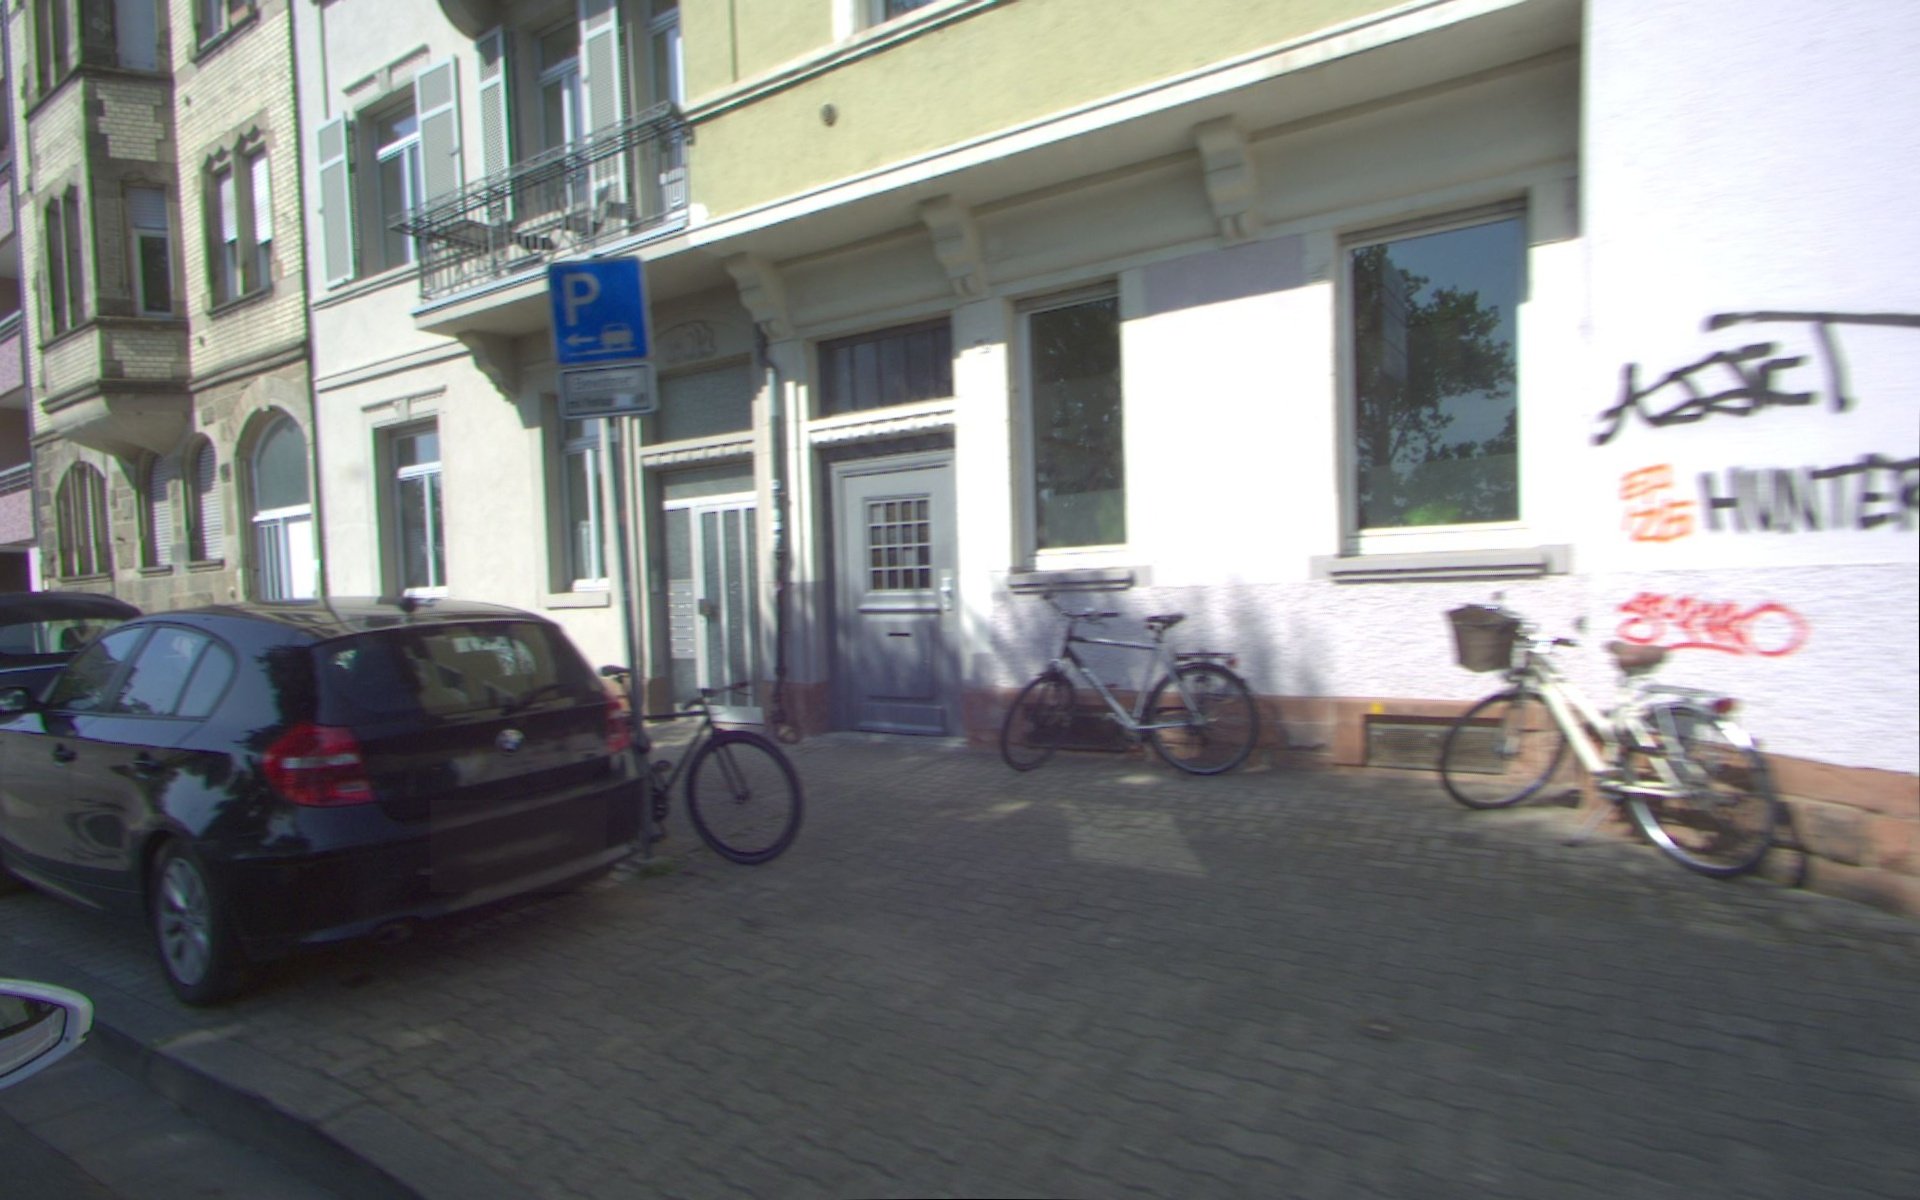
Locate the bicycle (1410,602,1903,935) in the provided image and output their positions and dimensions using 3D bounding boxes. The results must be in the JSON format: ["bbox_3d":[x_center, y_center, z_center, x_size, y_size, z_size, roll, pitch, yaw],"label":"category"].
[{"bbox_3d":[2.801,0.574,4.314,0.528,1.061,1.824,-3,2,-15],"label":"bicycle"}]

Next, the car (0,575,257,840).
[{"bbox_3d":[-7.055,0.667,7.337,3.953,1.522,1.638,-1,2,32],"label":"car"}]

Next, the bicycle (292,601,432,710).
[{"bbox_3d":[-6.980,0.625,11.681,1.602,1.162,0.653,-1,3,31],"label":"bicycle"}]

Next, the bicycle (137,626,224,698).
[{"bbox_3d":[-11.350,0.882,14.575,1.630,0.983,0.506,-1,2,35],"label":"bicycle"}]

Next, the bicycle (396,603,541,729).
[{"bbox_3d":[-5.278,0.671,10.737,1.602,1.197,0.564,2,5,30],"label":"bicycle"}]

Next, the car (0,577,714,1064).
[{"bbox_3d":[-3.262,0.681,4.792,4.023,1.435,1.736,-1,1,33],"label":"car"}]

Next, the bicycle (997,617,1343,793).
[{"bbox_3d":[1.308,0.615,6.453,2.083,0.958,0.606,-1,3,31],"label":"bicycle"}]

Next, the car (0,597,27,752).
[{"bbox_3d":[-11.222,0.769,10.078,4.067,1.472,1.638,-1,1,32],"label":"car"}]

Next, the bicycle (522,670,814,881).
[{"bbox_3d":[-1.529,0.845,5.154,1.557,0.904,0.447,-1,3,30],"label":"bicycle"}]
